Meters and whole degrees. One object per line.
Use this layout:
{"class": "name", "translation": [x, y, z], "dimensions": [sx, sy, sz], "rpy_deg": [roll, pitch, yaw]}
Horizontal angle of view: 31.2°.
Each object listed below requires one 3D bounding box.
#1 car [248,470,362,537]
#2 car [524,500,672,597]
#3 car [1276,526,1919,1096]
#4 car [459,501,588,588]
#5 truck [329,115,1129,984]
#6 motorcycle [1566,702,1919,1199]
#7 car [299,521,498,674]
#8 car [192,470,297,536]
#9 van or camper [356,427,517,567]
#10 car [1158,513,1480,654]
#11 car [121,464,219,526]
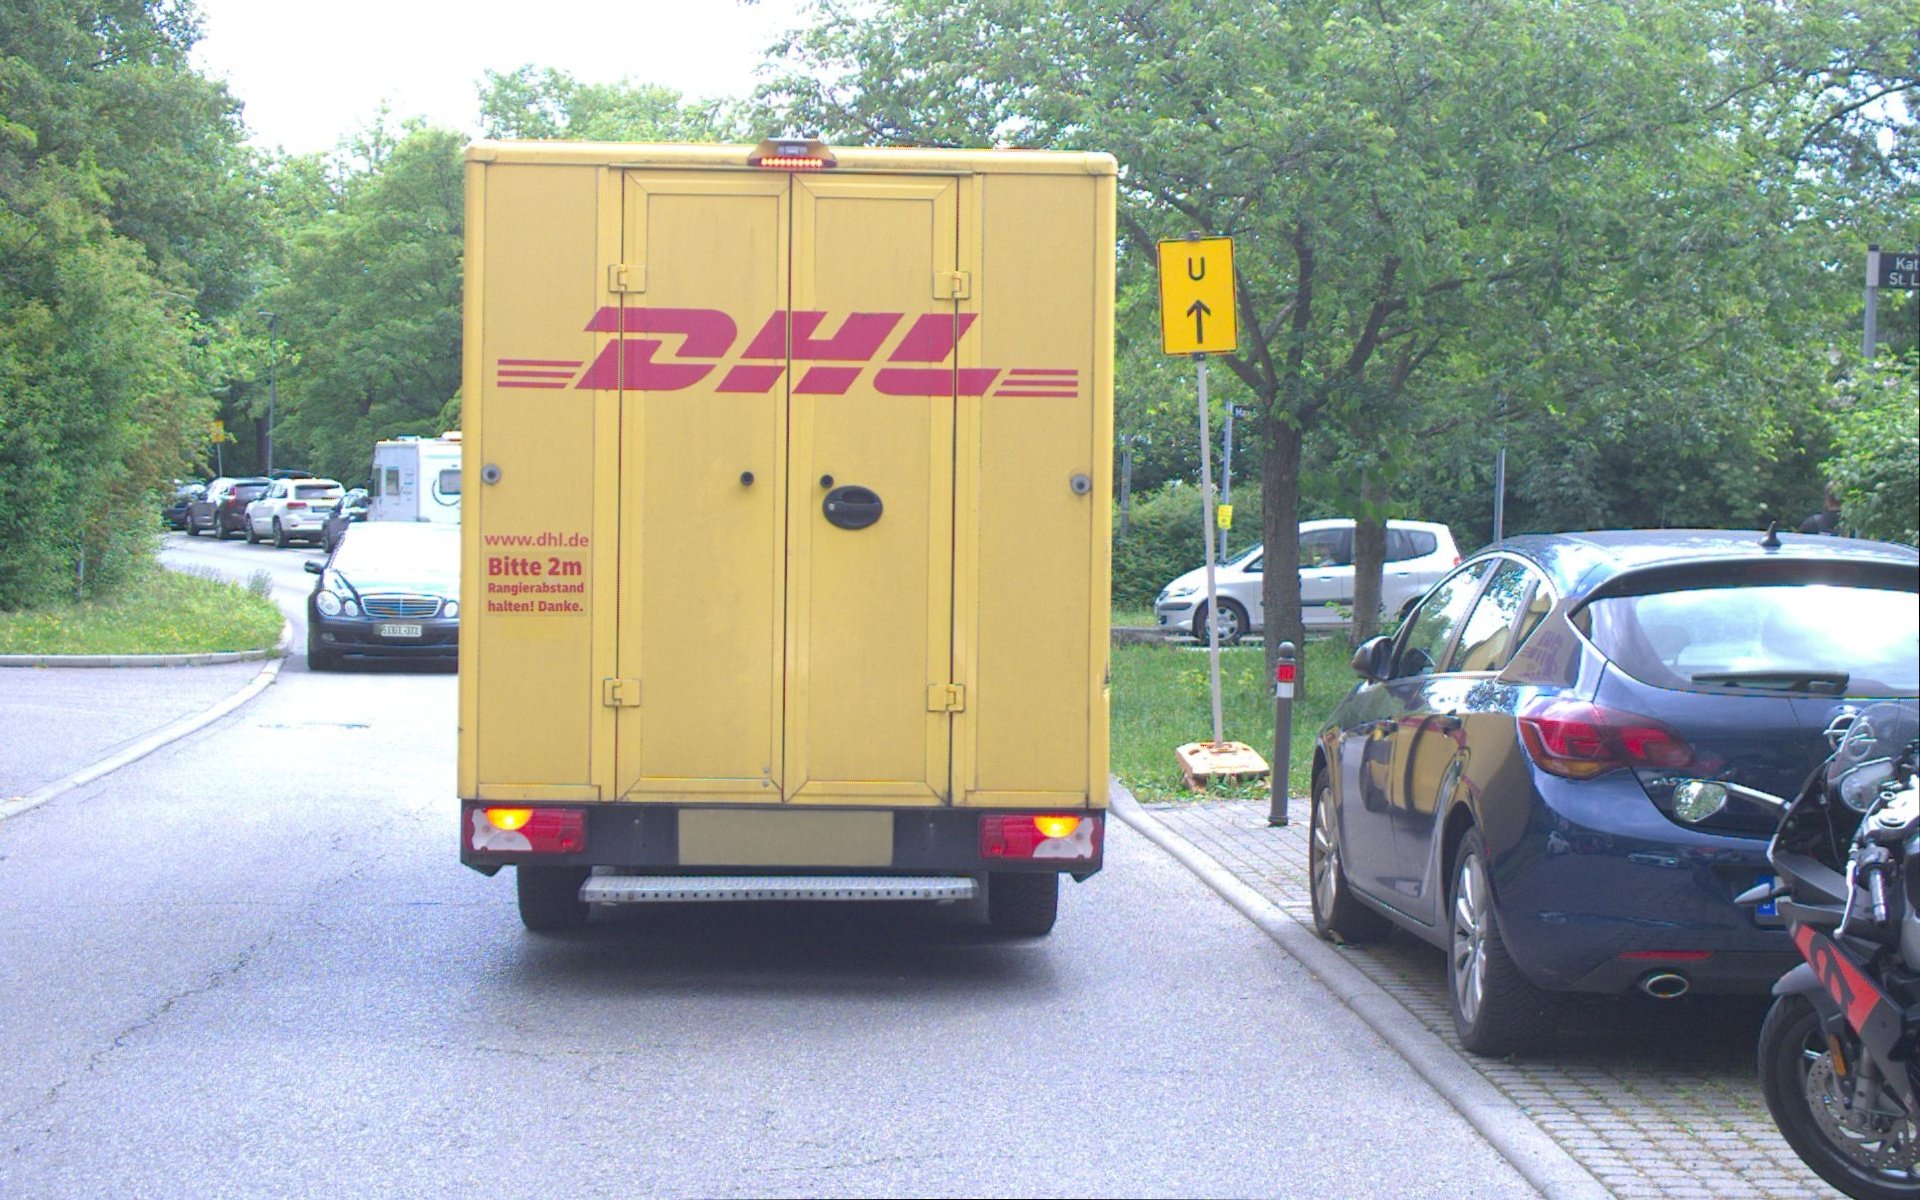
{"class": "car", "translation": [-16.890, -2.505, 88.468], "dimensions": [1.843, 1.524, 4.001], "rpy_deg": [1, 3, -26]}
{"class": "car", "translation": [-6.578, -0.952, 62.167], "dimensions": [1.843, 1.524, 4.002], "rpy_deg": [2, 3, -18]}
{"class": "car", "translation": [2.167, 0.536, 10.858], "dimensions": [1.728, 1.428, 3.969], "rpy_deg": [2, 1, -3]}
{"class": "car", "translation": [-8.837, -1.138, 69.388], "dimensions": [1.843, 1.524, 4.002], "rpy_deg": [2, 3, -18]}
{"class": "truck", "translation": [-0.906, -0.254, 14.136], "dimensions": [2.466, 2.693, 6.826], "rpy_deg": [-1, 2, -3]}
{"class": "motorcycle", "translation": [2.027, 0.787, 6.642], "dimensions": [0.898, 1.108, 2.085], "rpy_deg": [2, -1, -14]}
{"class": "car", "translation": [-5.553, -0.068, 34.363], "dimensions": [1.674, 1.350, 3.970], "rpy_deg": [2, 1, -6]}
{"class": "car", "translation": [-19.590, -2.662, 94.013], "dimensions": [1.843, 1.608, 4.001], "rpy_deg": [1, 3, -26]}
{"class": "van or camper", "translation": [-11.630, -2.328, 76.070], "dimensions": [2.323, 2.862, 5.263], "rpy_deg": [1, 3, -21]}
{"class": "car", "translation": [4.298, -0.211, 41.533], "dimensions": [3.630, 1.481, 1.691], "rpy_deg": [2, 3, -1]}
{"class": "car", "translation": [-22.900, -3.066, 99.561], "dimensions": [1.843, 1.608, 4.001], "rpy_deg": [1, 3, -26]}
